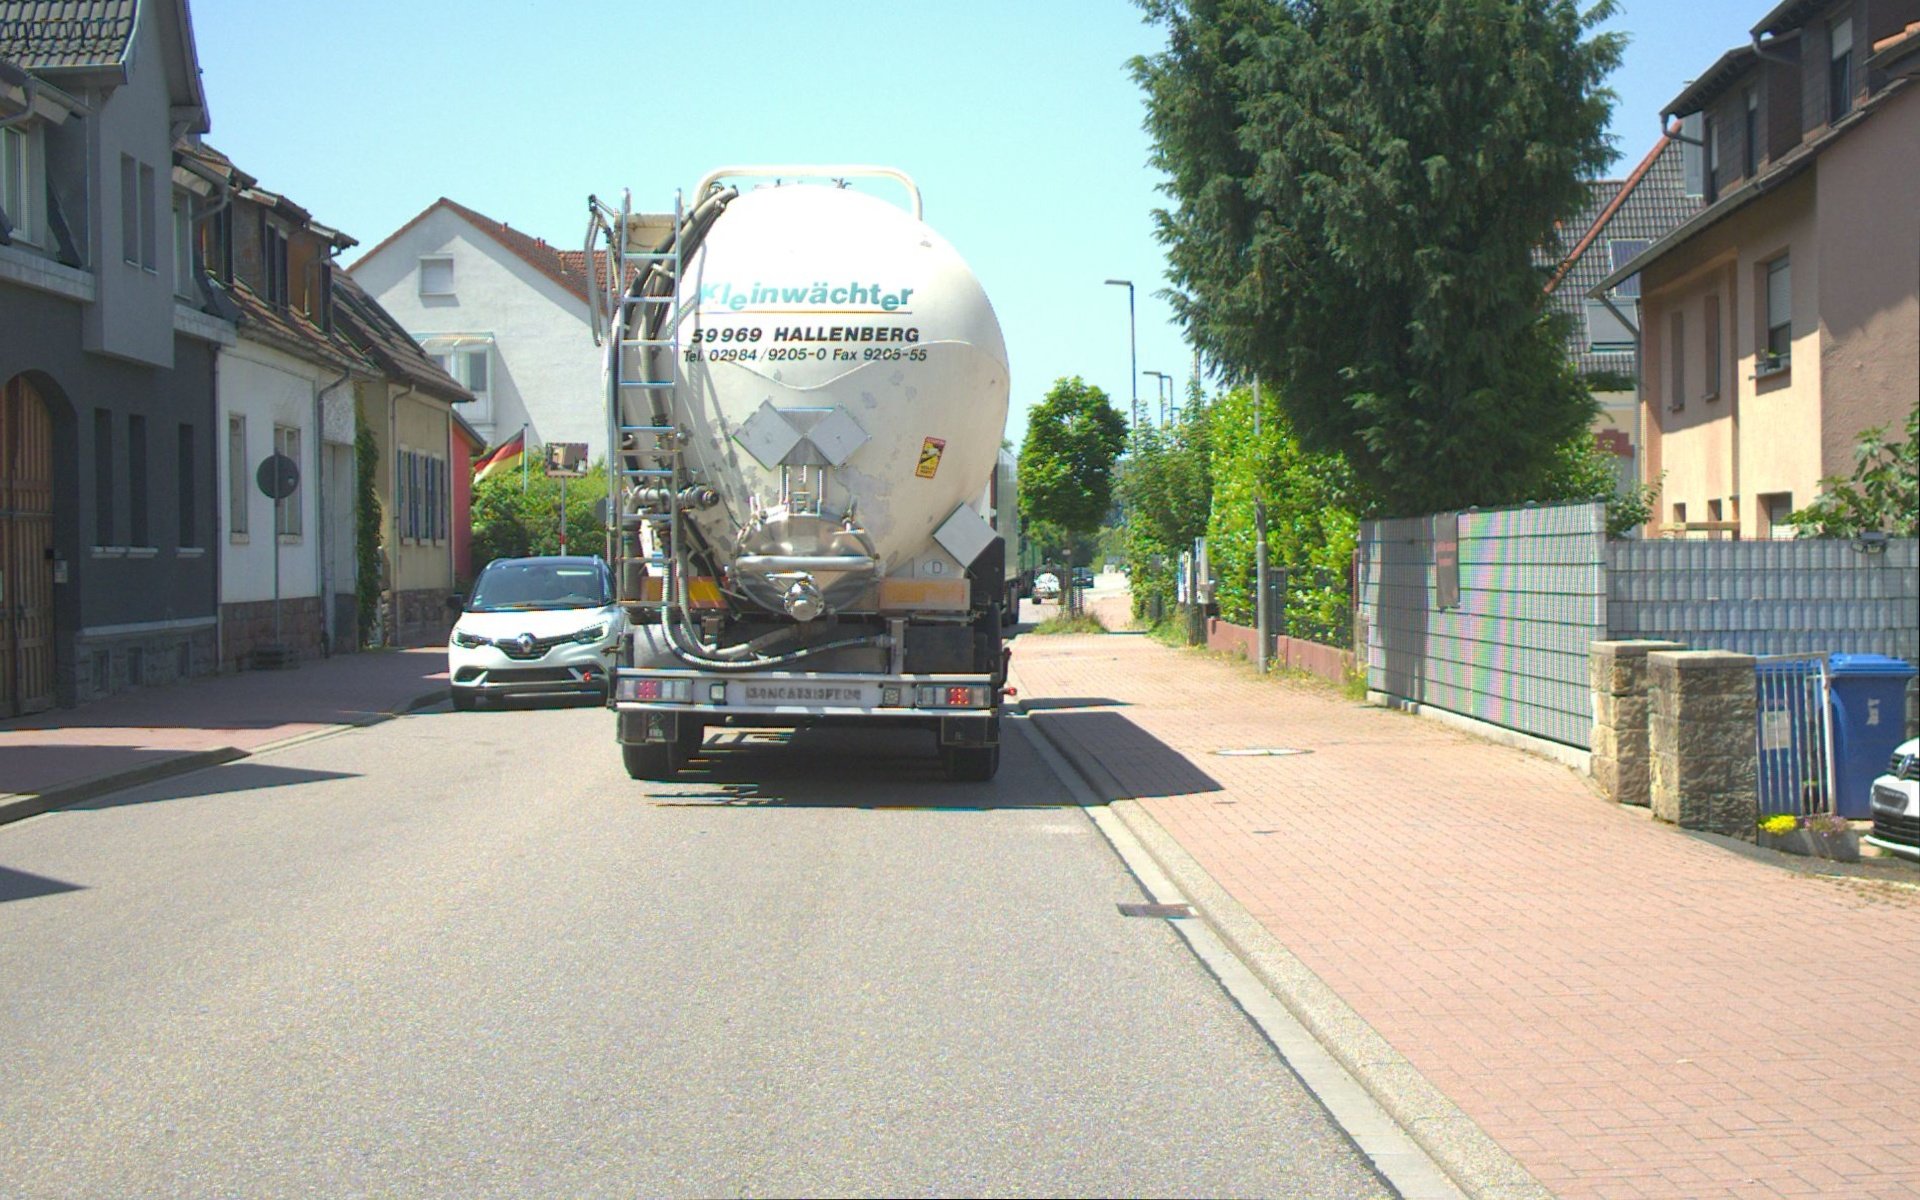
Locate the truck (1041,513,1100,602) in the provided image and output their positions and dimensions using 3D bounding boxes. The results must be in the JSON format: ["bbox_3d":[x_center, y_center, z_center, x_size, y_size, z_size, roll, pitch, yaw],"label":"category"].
[{"bbox_3d":[4.049,-1.577,126.493,1.993,3.126,9.448,1,1,2],"label":"truck"}]

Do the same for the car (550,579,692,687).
[{"bbox_3d":[-5.162,0.471,52.802,1.851,1.501,4.105,-3,1,-2],"label":"car"}]

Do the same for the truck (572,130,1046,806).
[{"bbox_3d":[-1.013,-0.796,24.380,2.732,3.947,8.142,1,0,-2],"label":"truck"}]

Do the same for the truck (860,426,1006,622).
[{"bbox_3d":[-0.488,-1.554,73.827,2.733,3.947,8.141,1,0,2],"label":"truck"}]

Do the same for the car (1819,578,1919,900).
[{"bbox_3d":[6.851,1.014,17.711,4.170,1.581,1.907,9,0,0],"label":"car"}]

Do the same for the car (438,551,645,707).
[{"bbox_3d":[-4.635,0.293,38.629,1.851,1.566,4.255,-3,1,-2],"label":"car"}]
